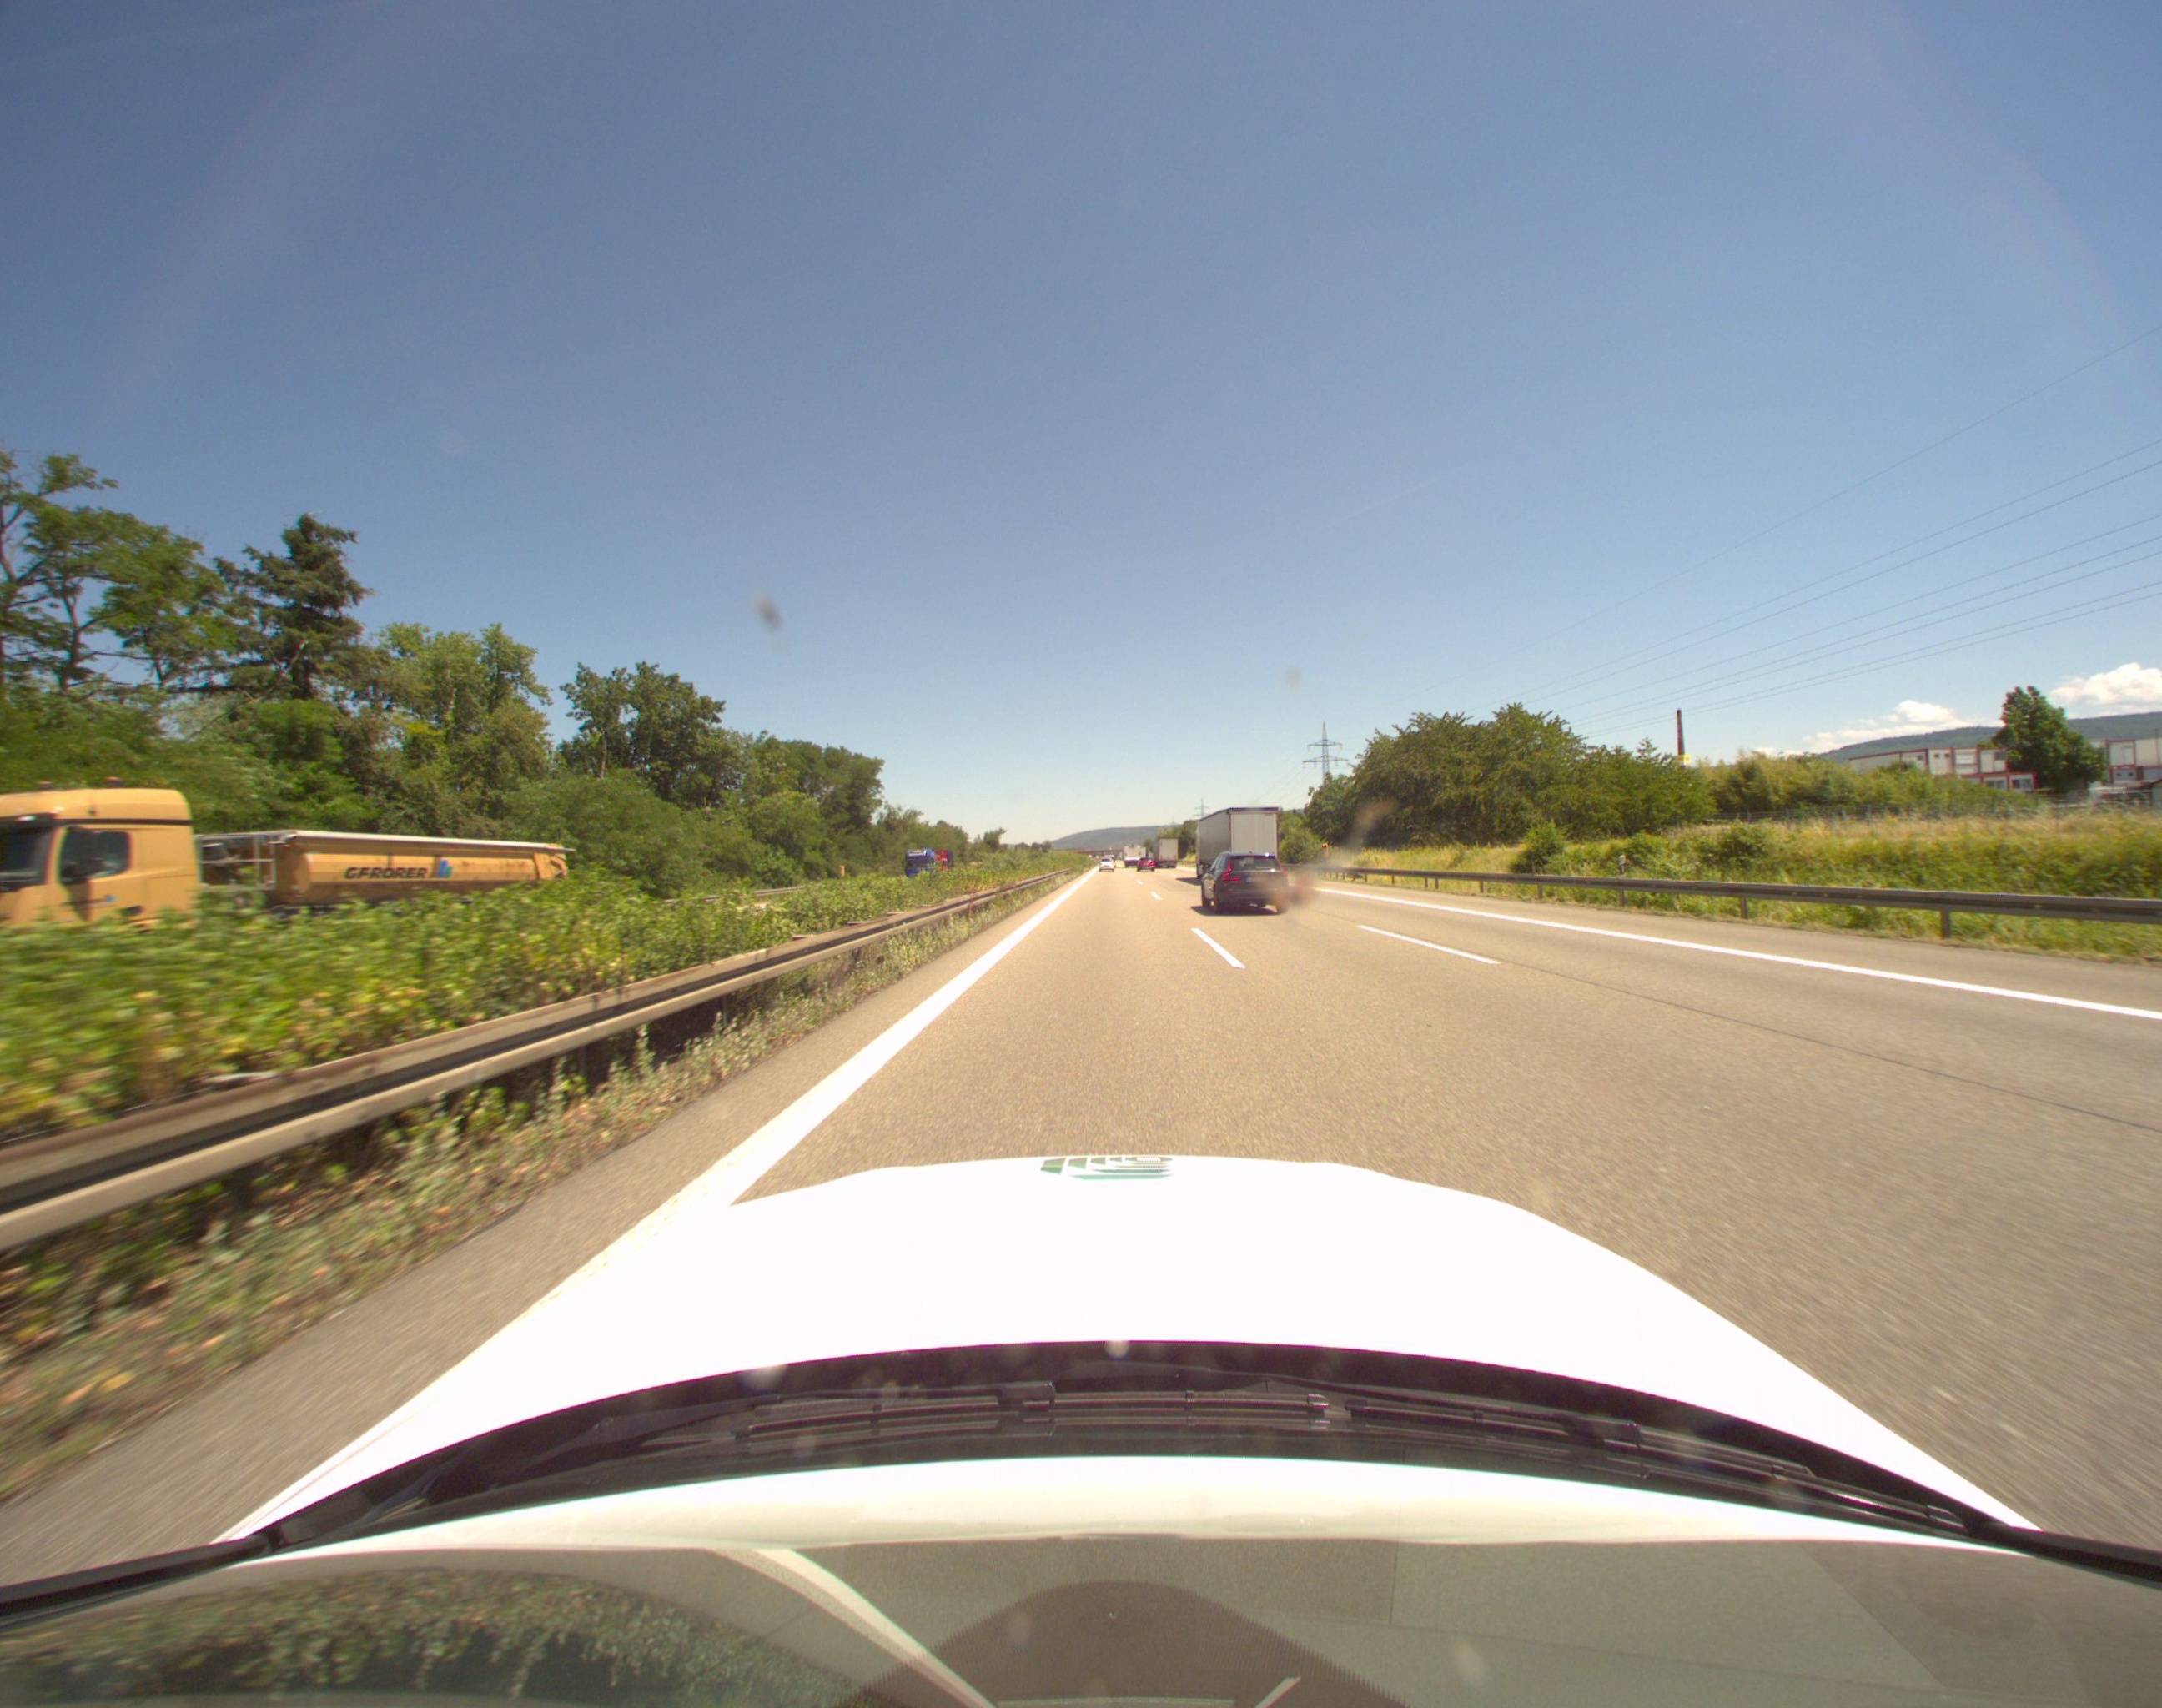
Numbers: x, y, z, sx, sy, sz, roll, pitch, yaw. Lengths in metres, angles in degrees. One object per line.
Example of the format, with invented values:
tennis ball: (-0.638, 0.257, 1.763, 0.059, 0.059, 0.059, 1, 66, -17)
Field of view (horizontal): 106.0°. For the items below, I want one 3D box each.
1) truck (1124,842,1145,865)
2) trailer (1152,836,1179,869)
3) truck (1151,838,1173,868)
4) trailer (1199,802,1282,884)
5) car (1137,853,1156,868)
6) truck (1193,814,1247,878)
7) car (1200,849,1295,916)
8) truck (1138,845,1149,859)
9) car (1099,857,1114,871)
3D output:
truck: (7.937, -0.006, 122.114, 2.772, 3.373, 8.131, -1, -1, 2)
trailer: (11.443, -0.190, 111.675, 2.778, 4.164, 13.582, -2, 0, 3)
truck: (11.737, -0.154, 118.377, 2.784, 4.164, 5.726, -2, -1, 2)
trailer: (9.071, -0.536, 48.127, 2.725, 4.106, 13.128, -1, 0, 2)
car: (7.026, 0.679, 87.263, 1.796, 1.545, 4.002, -1, 0, 2)
truck: (9.339, -0.496, 55.291, 2.725, 4.120, 6.127, -1, 0, 2)
car: (4.447, 0.712, 22.320, 1.867, 1.623, 4.005, -1, 0, 2)
truck: (15.241, -0.422, 199.029, 2.213, 3.209, 10.389, -2, 0, 2)
car: (2.874, 1.108, 91.737, 1.601, 1.468, 4.001, -1, 0, 1)
